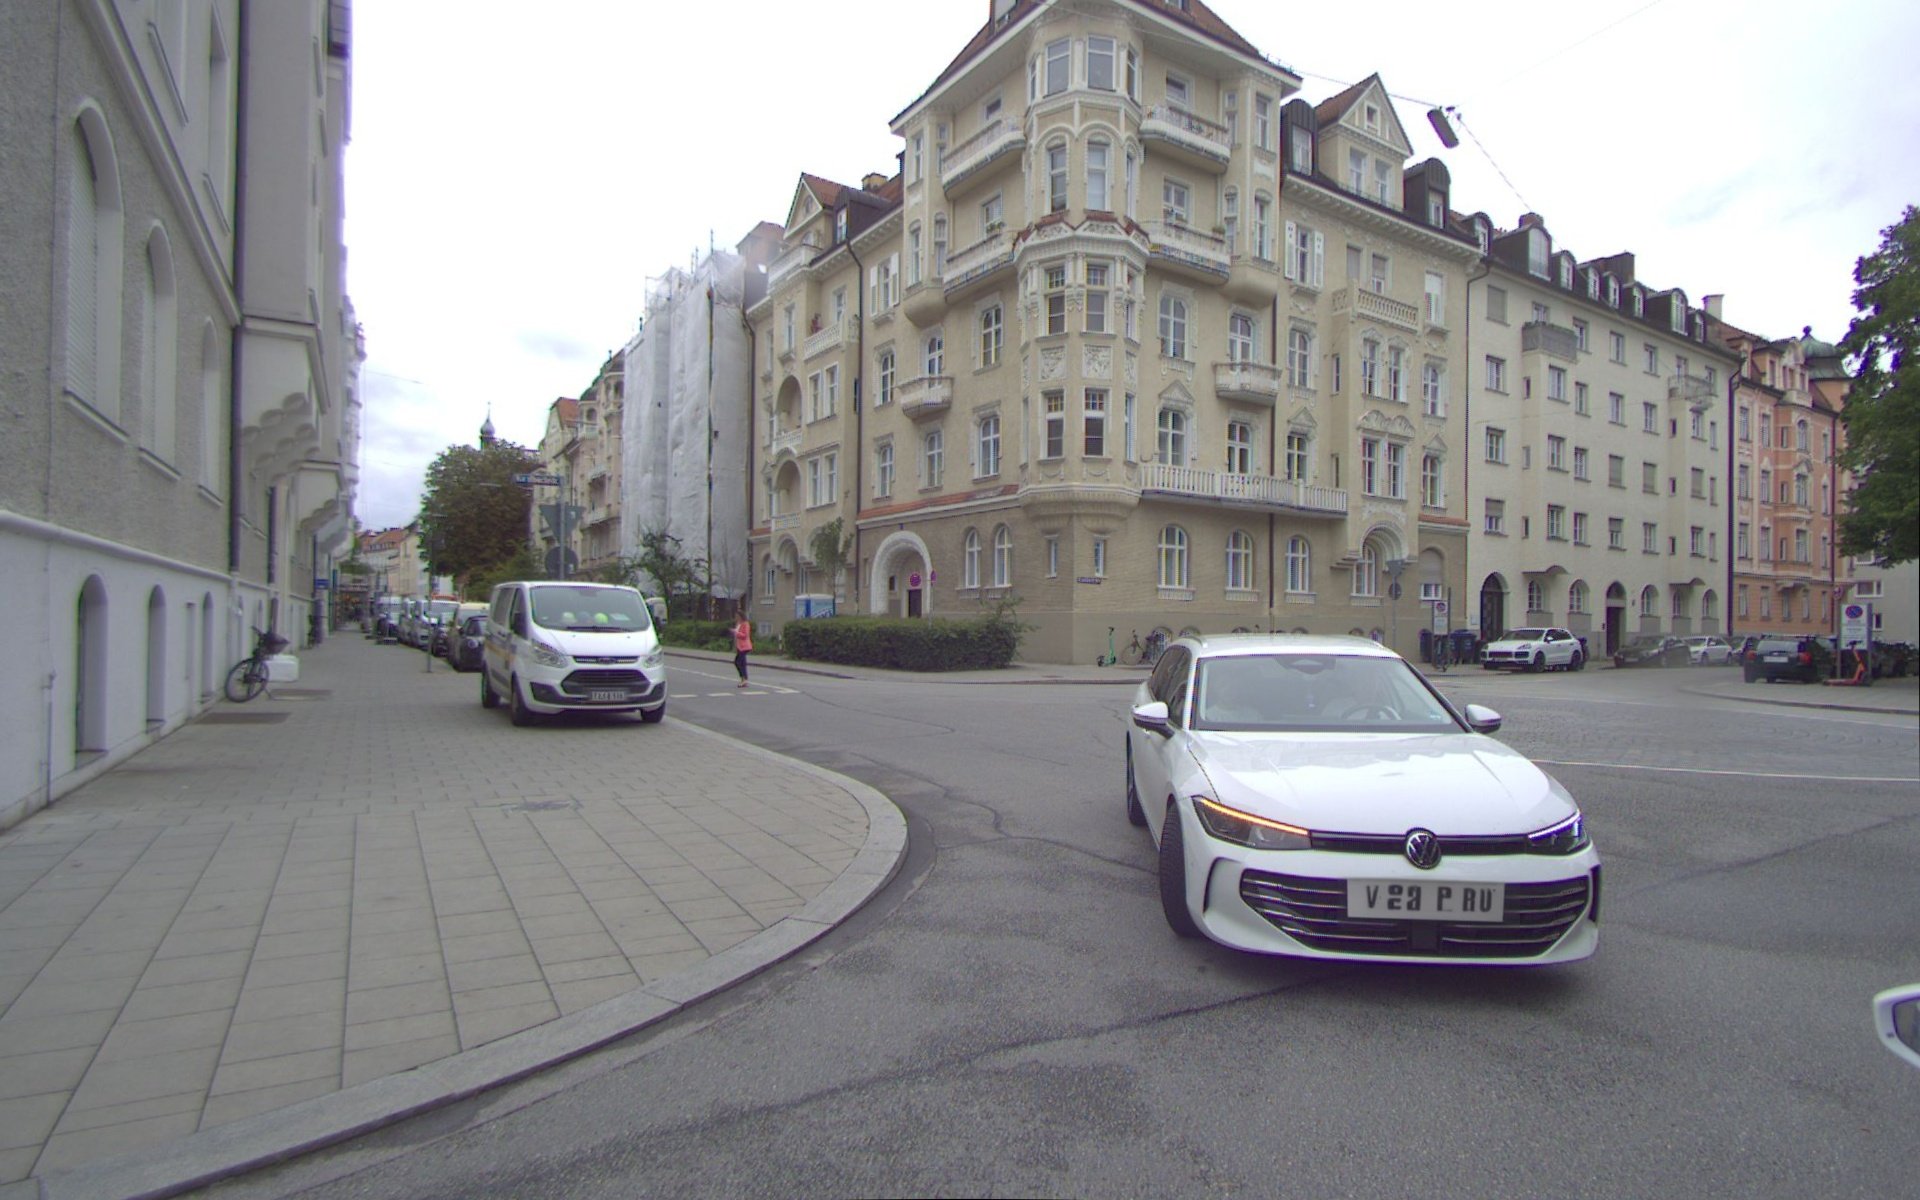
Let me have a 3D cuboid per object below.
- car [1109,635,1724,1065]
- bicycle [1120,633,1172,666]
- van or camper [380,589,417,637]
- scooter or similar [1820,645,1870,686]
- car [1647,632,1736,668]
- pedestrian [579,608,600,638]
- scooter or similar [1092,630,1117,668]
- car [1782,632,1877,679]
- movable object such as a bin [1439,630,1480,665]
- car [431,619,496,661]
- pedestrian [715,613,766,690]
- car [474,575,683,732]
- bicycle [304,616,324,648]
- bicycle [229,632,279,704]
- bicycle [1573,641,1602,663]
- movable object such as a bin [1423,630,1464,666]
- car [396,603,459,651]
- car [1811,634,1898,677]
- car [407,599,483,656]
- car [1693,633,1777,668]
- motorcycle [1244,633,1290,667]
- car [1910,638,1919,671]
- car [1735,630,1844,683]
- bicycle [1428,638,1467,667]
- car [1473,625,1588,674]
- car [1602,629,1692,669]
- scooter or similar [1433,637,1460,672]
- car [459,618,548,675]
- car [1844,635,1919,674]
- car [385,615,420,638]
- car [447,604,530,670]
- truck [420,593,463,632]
[{"bbox_3d":[2.042,0.999,6.179,1.852,1.468,4.894,1,-1,4],"label":"car"},{"bbox_3d":[6.088,1.610,32.880,1.812,1.063,0.559,2,-1,-35],"label":"bicycle"},{"bbox_3d":[-36.961,0.857,66.042,1.977,2.952,6.386,2,-1,-30],"label":"van or camper"},{"bbox_3d":[24.890,1.838,28.268,0.984,1.103,0.390,1,-1,29],"label":"scooter or similar"},{"bbox_3d":[34.352,2.326,47.149,4.360,1.602,1.964,2,-1,-33],"label":"car"},{"bbox_3d":[-21.802,1.355,59.103,0.867,1.749,1.042,2,-1,-34],"label":"pedestrian"},{"bbox_3d":[4.546,1.528,31.534,0.459,1.130,1.215,1,-1,24],"label":"scooter or similar"},{"bbox_3d":[30.112,1.896,34.754,4.198,1.525,1.779,2,-3,-39],"label":"car"},{"bbox_3d":[21.111,2.000,42.454,1.160,1.444,1.085,1,-1,-32],"label":"movable object such as a bin"},{"bbox_3d":[-17.267,1.364,34.882,1.679,1.364,3.508,2,-2,-32],"label":"car"},{"bbox_3d":[-4.847,1.129,22.152,0.848,1.657,0.725,2,-1,-39],"label":"pedestrian"},{"bbox_3d":[-5.787,0.698,14.813,1.904,1.905,4.867,2,-1,-33],"label":"car"},{"bbox_3d":[-22.420,1.101,34.892,0.486,1.063,1.816,1,-1,-30],"label":"bicycle"},{"bbox_3d":[-11.256,1.060,16.051,0.486,1.063,1.816,1,-1,-30],"label":"bicycle"},{"bbox_3d":[31.339,2.599,50.171,1.812,1.063,0.559,2,-1,-35],"label":"bicycle"},{"bbox_3d":[20.113,1.979,41.818,1.160,1.444,1.085,1,-1,-32],"label":"movable object such as a bin"},{"bbox_3d":[-23.877,1.203,44.986,2.102,2.020,4.780,2,-2,-32],"label":"car"},{"bbox_3d":[33.591,2.041,37.695,4.080,1.525,1.779,2,-3,-39],"label":"car"},{"bbox_3d":[-20.527,1.095,39.937,2.103,2.119,4.776,2,-2,-35],"label":"car"},{"bbox_3d":[38.602,2.493,49.989,4.360,1.602,1.964,2,-1,-33],"label":"car"},{"bbox_3d":[11.058,1.783,36.100,1.812,1.191,0.594,2,-1,-35],"label":"motorcycle"},{"bbox_3d":[46.933,2.582,47.813,4.077,1.525,1.822,2,-3,-37],"label":"car"},{"bbox_3d":[26.036,1.735,31.499,4.385,1.525,1.804,2,-3,-39],"label":"car"},{"bbox_3d":[18.810,2.019,38.733,1.812,1.063,0.559,2,-1,-35],"label":"bicycle"},{"bbox_3d":[21.830,1.864,38.373,4.792,1.723,1.963,2,-1,-35],"label":"car"},{"bbox_3d":[30.386,2.153,44.385,4.670,1.637,1.961,2,-1,-37],"label":"car"},{"bbox_3d":[17.343,1.935,35.815,0.458,1.209,1.216,1,-1,6],"label":"scooter or similar"},{"bbox_3d":[-11.860,1.172,25.987,1.678,1.364,3.649,2,-2,-31],"label":"car"},{"bbox_3d":[38.019,2.228,41.357,4.080,1.525,1.779,2,-3,-39],"label":"car"},{"bbox_3d":[-33.636,1.592,60.550,1.678,1.364,3.509,2,-2,-31],"label":"car"},{"bbox_3d":[-14.463,1.101,30.704,2.003,1.863,4.104,1,-2,-29],"label":"car"},{"bbox_3d":[-51.937,1.261,100.488,3.155,3.671,8.658,1,-1,-31],"label":"truck"}]
